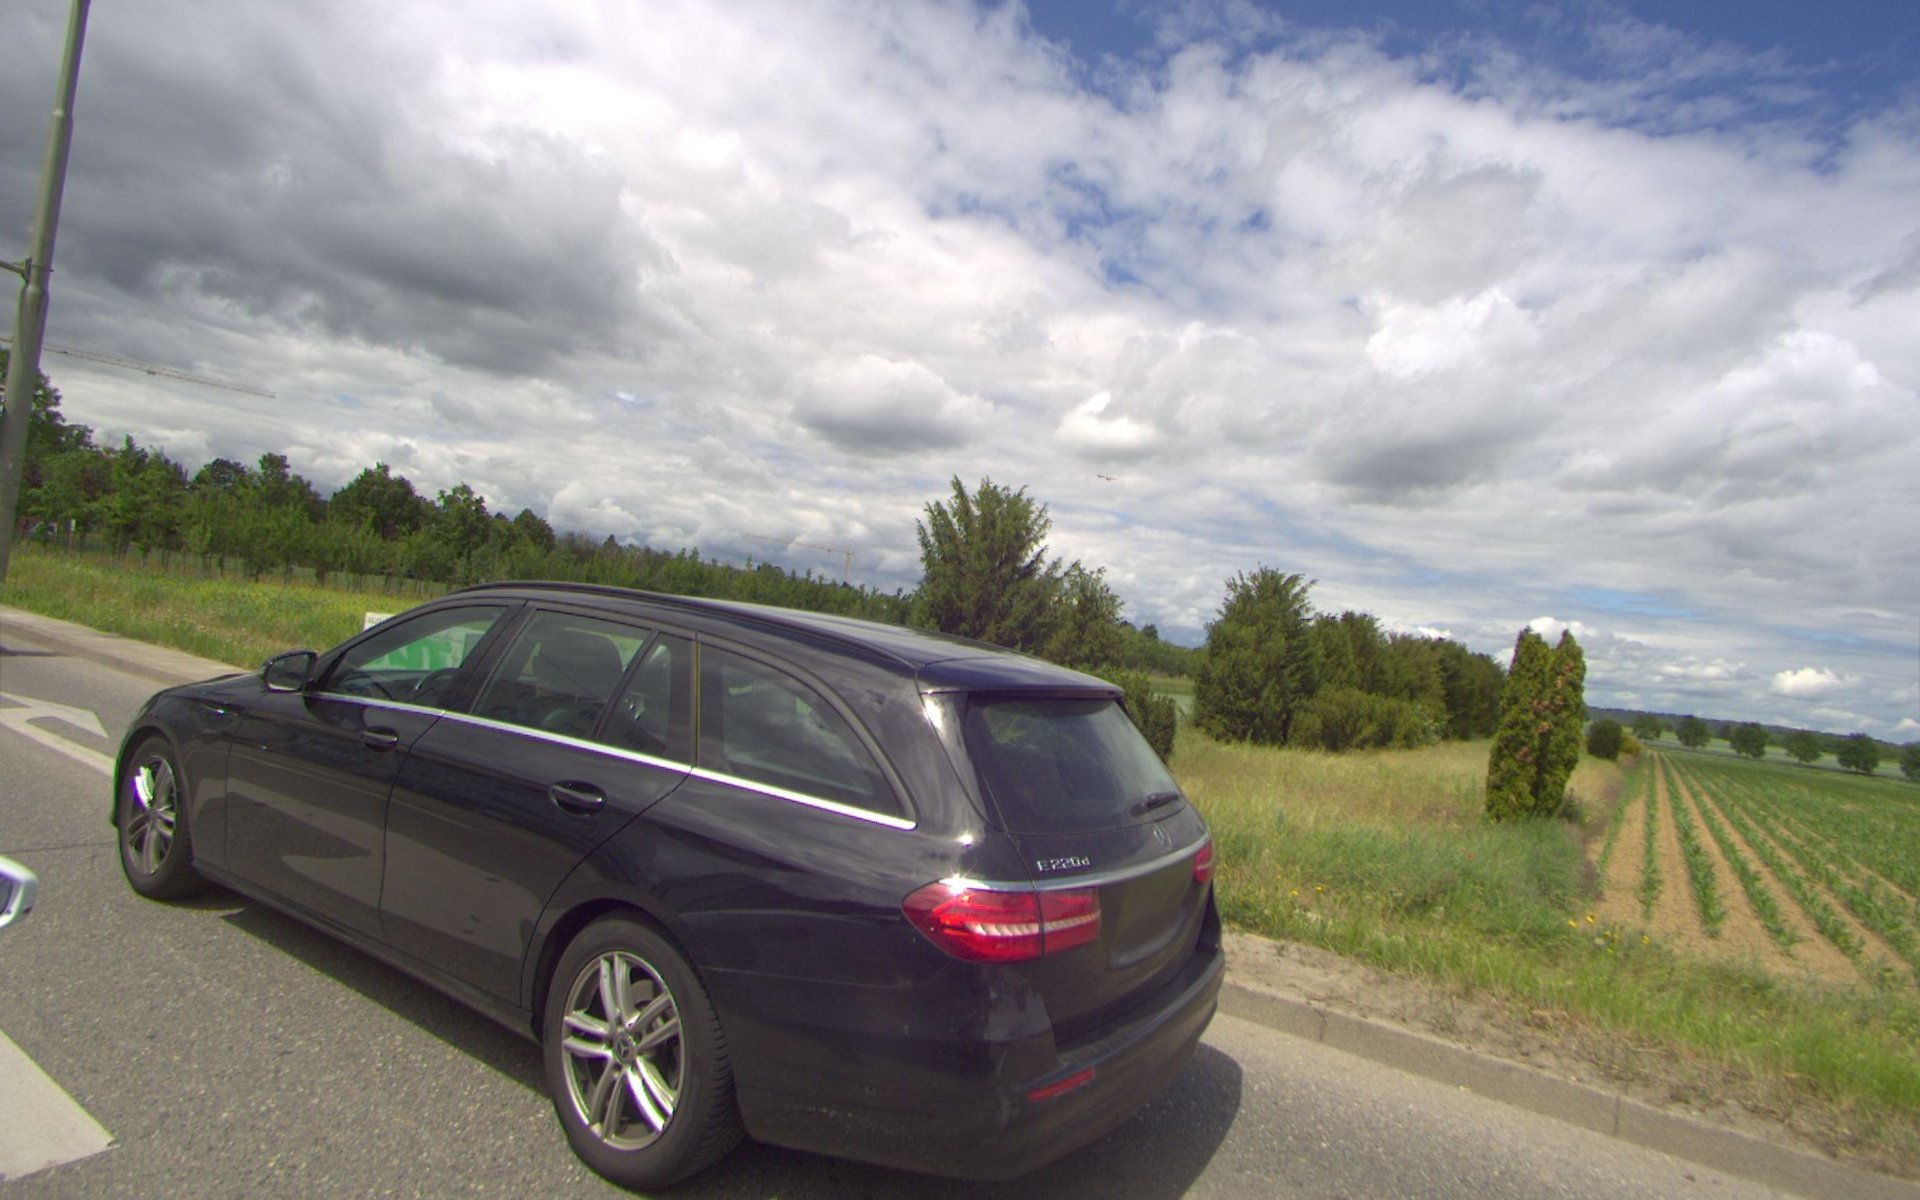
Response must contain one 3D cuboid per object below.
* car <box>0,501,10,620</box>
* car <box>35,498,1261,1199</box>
[{"bbox_3d":[-11.868,-0.442,10.361,4.269,1.544,1.960,5,0,32],"label":"car"},{"bbox_3d":[-1.518,0.693,3.968,4.725,1.556,1.841,8,0,32],"label":"car"}]
